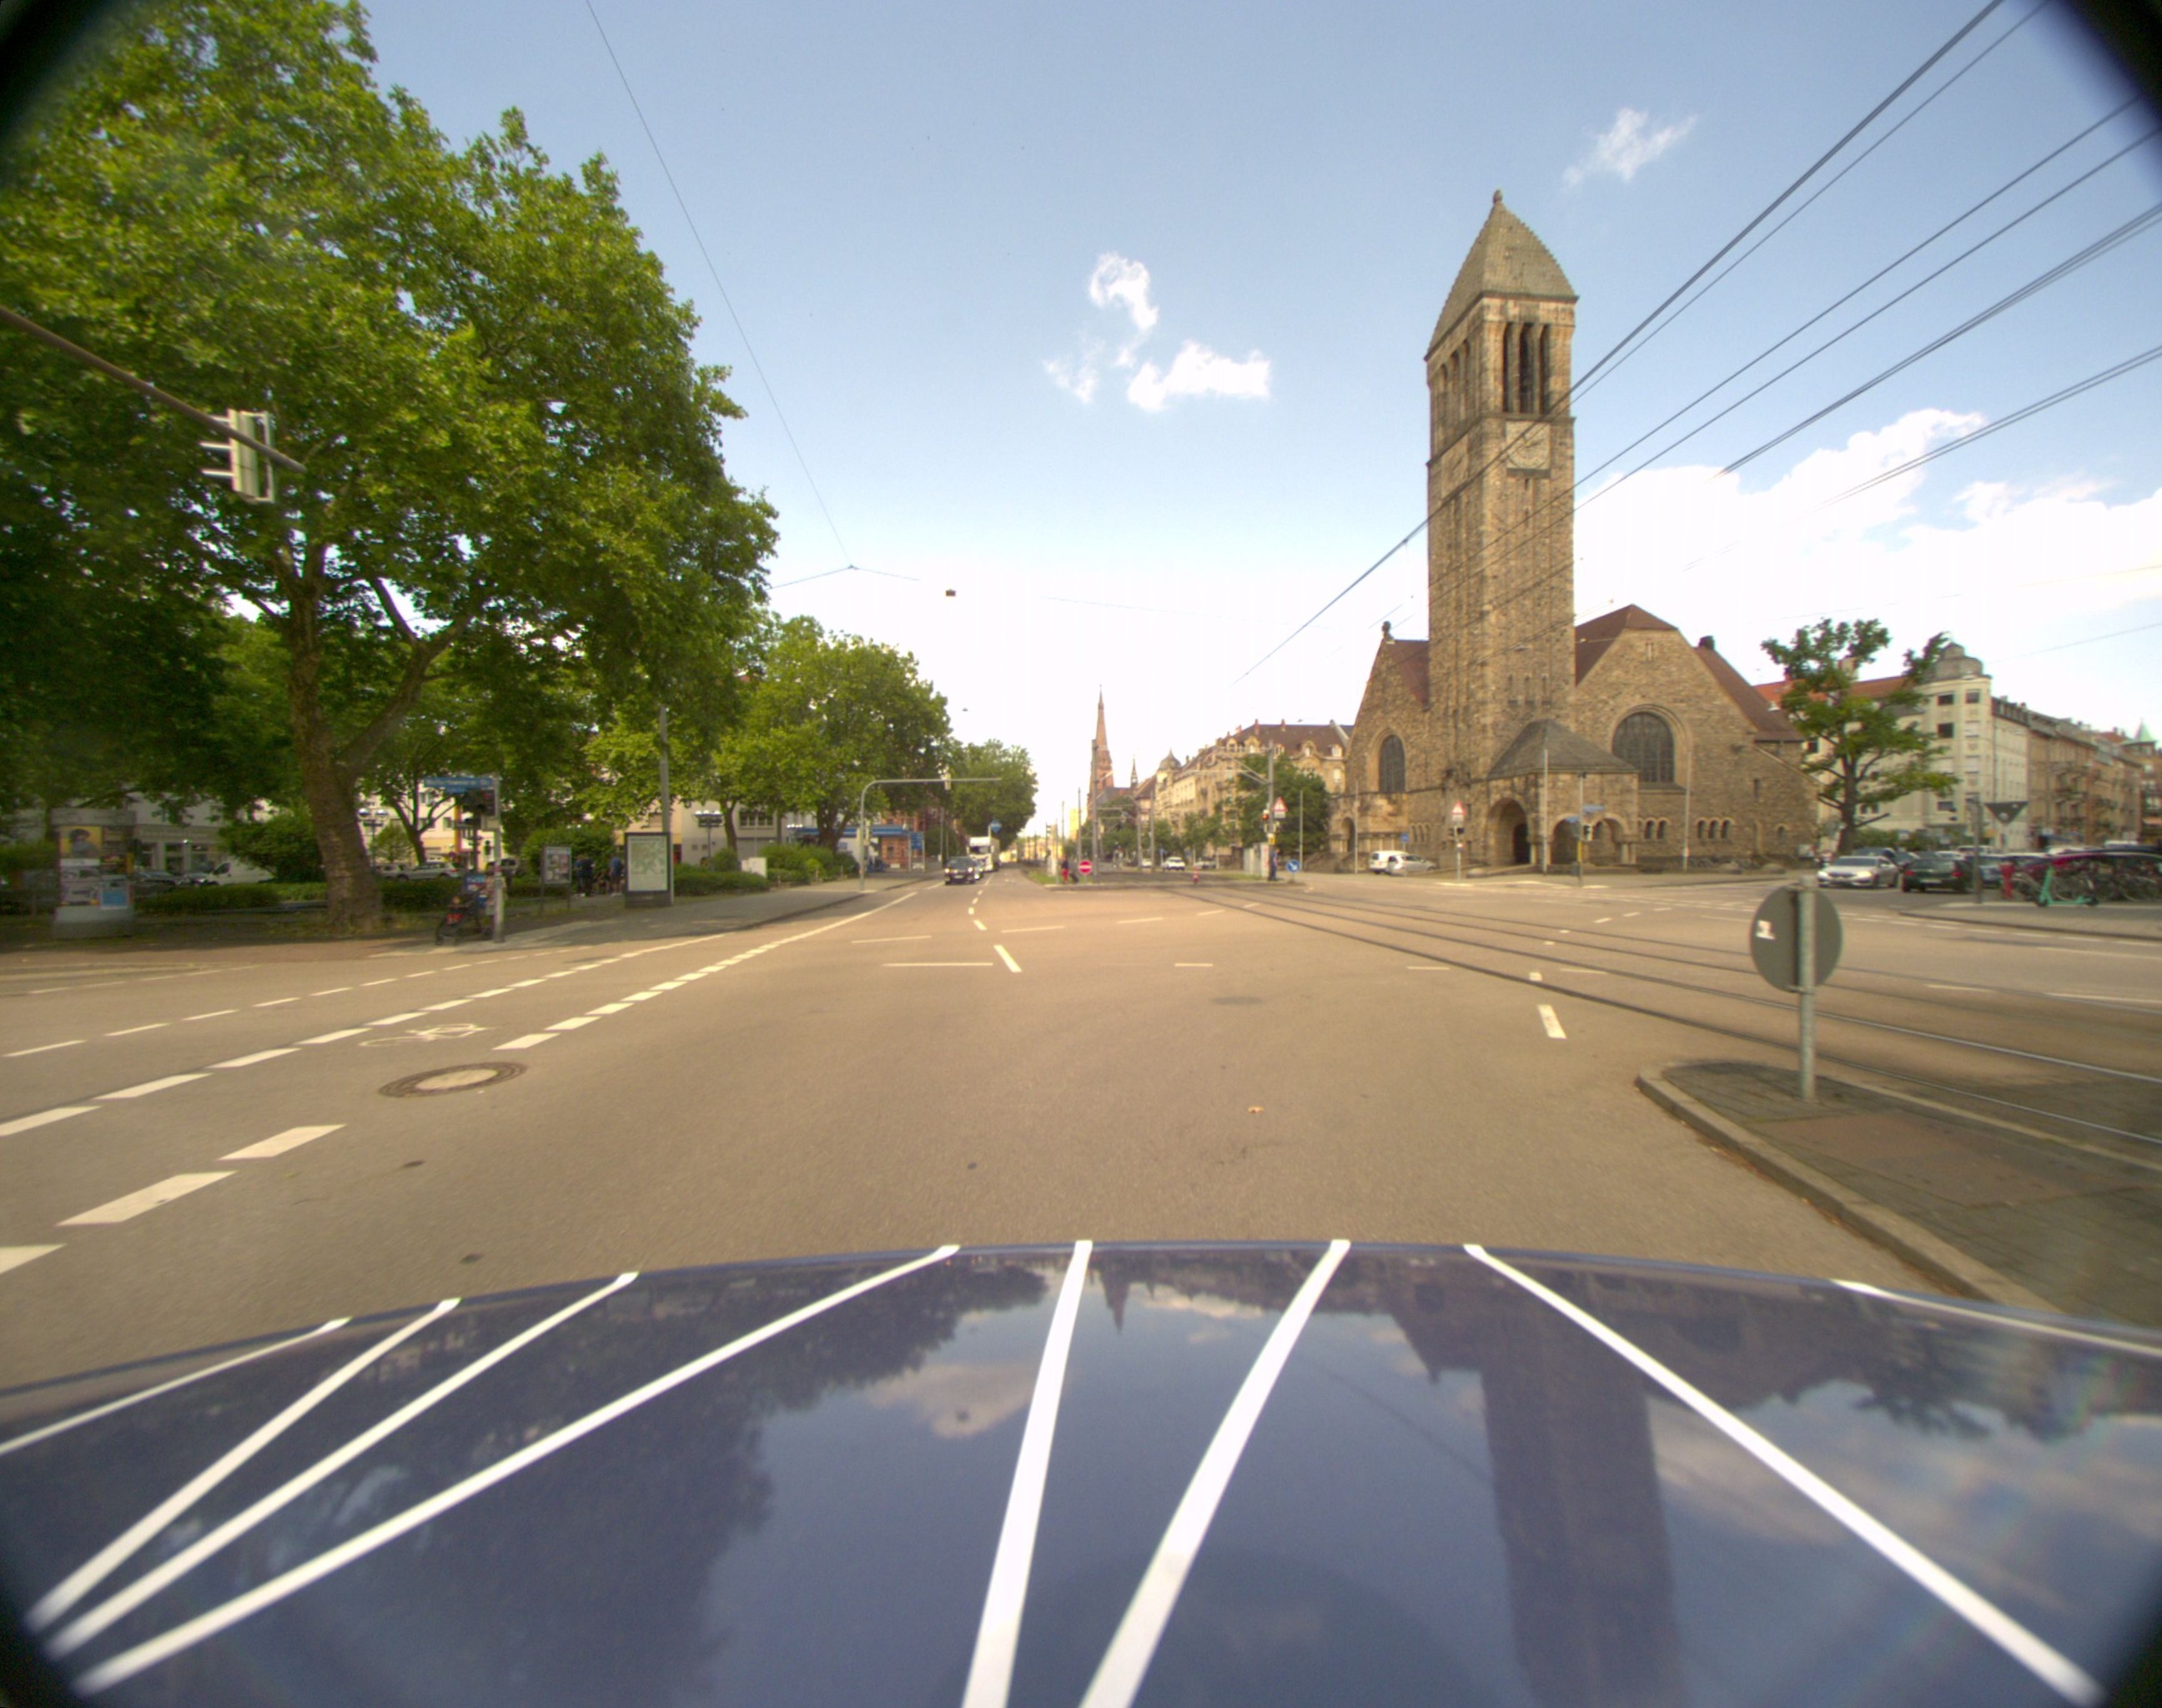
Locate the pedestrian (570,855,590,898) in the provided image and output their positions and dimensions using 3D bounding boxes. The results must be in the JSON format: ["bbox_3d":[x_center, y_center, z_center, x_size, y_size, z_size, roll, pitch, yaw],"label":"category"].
[{"bbox_3d":[-20.759,0.913,31.502,0.607,1.740,0.697,-1,1,-29],"label":"pedestrian"}]

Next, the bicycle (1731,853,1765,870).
[{"bbox_3d":[49.824,0.540,56.765,0.587,1.106,1.937,-1,3,-9],"label":"bicycle"}]

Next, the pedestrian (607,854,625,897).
[{"bbox_3d":[-19.245,0.874,31.453,0.607,1.740,0.697,-1,1,-30],"label":"pedestrian"}]

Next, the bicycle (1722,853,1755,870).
[{"bbox_3d":[49.024,0.557,56.687,0.587,1.106,1.937,-1,3,-9],"label":"bicycle"}]

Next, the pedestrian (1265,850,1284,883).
[{"bbox_3d":[10.255,0.634,40.325,0.772,1.721,0.743,-1,1,-6],"label":"pedestrian"}]

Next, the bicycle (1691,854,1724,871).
[{"bbox_3d":[46.487,0.613,56.409,0.587,1.106,1.937,-1,3,-9],"label":"bicycle"}]

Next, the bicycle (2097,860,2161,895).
[{"bbox_3d":[33.006,0.735,23.626,0.559,1.045,1.629,-1,-2,-31],"label":"bicycle"}]

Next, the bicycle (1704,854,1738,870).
[{"bbox_3d":[47.492,0.592,56.403,0.587,1.106,1.937,-1,3,-9],"label":"bicycle"}]

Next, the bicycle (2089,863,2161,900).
[{"bbox_3d":[30.877,0.799,22.230,0.481,1.045,1.580,-1,-2,-22],"label":"bicycle"}]

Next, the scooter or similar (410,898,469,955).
[{"bbox_3d":[-12.589,1.410,14.928,0.490,1.050,0.709,-1,1,18],"label":"scooter or similar"}]

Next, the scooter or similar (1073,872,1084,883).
[{"bbox_3d":[-0.141,1.247,40.177,0.522,0.532,0.310,1,0,-18],"label":"scooter or similar"}]

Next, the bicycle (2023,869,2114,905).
[{"bbox_3d":[29.937,0.990,23.070,0.481,1.045,1.580,-1,-2,-22],"label":"bicycle"}]

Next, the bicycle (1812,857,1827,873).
[{"bbox_3d":[51.867,0.771,53.374,1.446,1.046,0.479,-1,1,-36],"label":"bicycle"}]

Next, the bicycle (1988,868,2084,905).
[{"bbox_3d":[29.068,0.983,23.159,0.531,1.045,1.735,-1,-2,-14],"label":"bicycle"}]

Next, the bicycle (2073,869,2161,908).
[{"bbox_3d":[29.034,0.965,21.271,0.481,1.045,1.441,-1,-2,-21],"label":"bicycle"}]

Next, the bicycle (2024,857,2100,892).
[{"bbox_3d":[30.511,0.654,23.647,0.419,1.045,1.370,-1,-2,-32],"label":"bicycle"}]

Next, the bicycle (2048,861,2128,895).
[{"bbox_3d":[31.949,0.773,24.115,0.463,1.045,1.481,0,-2,-34],"label":"bicycle"}]

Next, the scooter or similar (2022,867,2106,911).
[{"bbox_3d":[26.383,0.938,20.414,0.481,1.139,1.252,-2,-1,-12],"label":"scooter or similar"}]

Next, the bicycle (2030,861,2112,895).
[{"bbox_3d":[30.887,0.758,23.735,0.463,1.045,1.481,-1,-2,-30],"label":"bicycle"}]

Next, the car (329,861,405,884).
[{"bbox_3d":[-54.576,1.411,58.122,3.998,1.652,1.753,-1,1,-4],"label":"car"}]

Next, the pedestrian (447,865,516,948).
[{"bbox_3d":[-12.354,1.067,15.683,0.569,1.636,0.924,-1,1,18],"label":"pedestrian"}]

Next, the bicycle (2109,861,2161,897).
[{"bbox_3d":[31.537,0.728,22.346,0.463,1.045,1.481,-1,-2,-29],"label":"bicycle"}]

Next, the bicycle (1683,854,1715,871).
[{"bbox_3d":[45.777,0.629,56.312,0.587,1.106,1.937,-1,3,-9],"label":"bicycle"}]

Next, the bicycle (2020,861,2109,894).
[{"bbox_3d":[32.356,0.777,25.013,1.809,1.045,0.558,-2,-1,14],"label":"bicycle"}]

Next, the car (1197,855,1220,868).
[{"bbox_3d":[15.203,0.860,90.540,1.789,1.486,3.836,-1,0,-5],"label":"car"}]

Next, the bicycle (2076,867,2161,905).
[{"bbox_3d":[30.022,0.908,21.853,0.481,1.045,1.611,-1,-2,-22],"label":"bicycle"}]

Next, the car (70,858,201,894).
[{"bbox_3d":[-53.610,1.228,43.160,4.489,1.894,2.103,-1,1,-4],"label":"car"}]

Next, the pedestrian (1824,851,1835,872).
[{"bbox_3d":[52.172,0.536,52.971,0.557,1.447,0.465,-1,1,-35],"label":"pedestrian"}]

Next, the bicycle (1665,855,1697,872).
[{"bbox_3d":[44.223,0.664,56.046,0.587,1.106,1.937,-1,3,-9],"label":"bicycle"}]

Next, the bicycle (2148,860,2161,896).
[{"bbox_3d":[32.542,0.689,22.225,0.463,1.045,1.481,-1,-2,-33],"label":"bicycle"}]

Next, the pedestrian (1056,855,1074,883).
[{"bbox_3d":[-0.825,0.774,39.910,0.776,1.483,0.657,1,0,-18],"label":"pedestrian"}]
